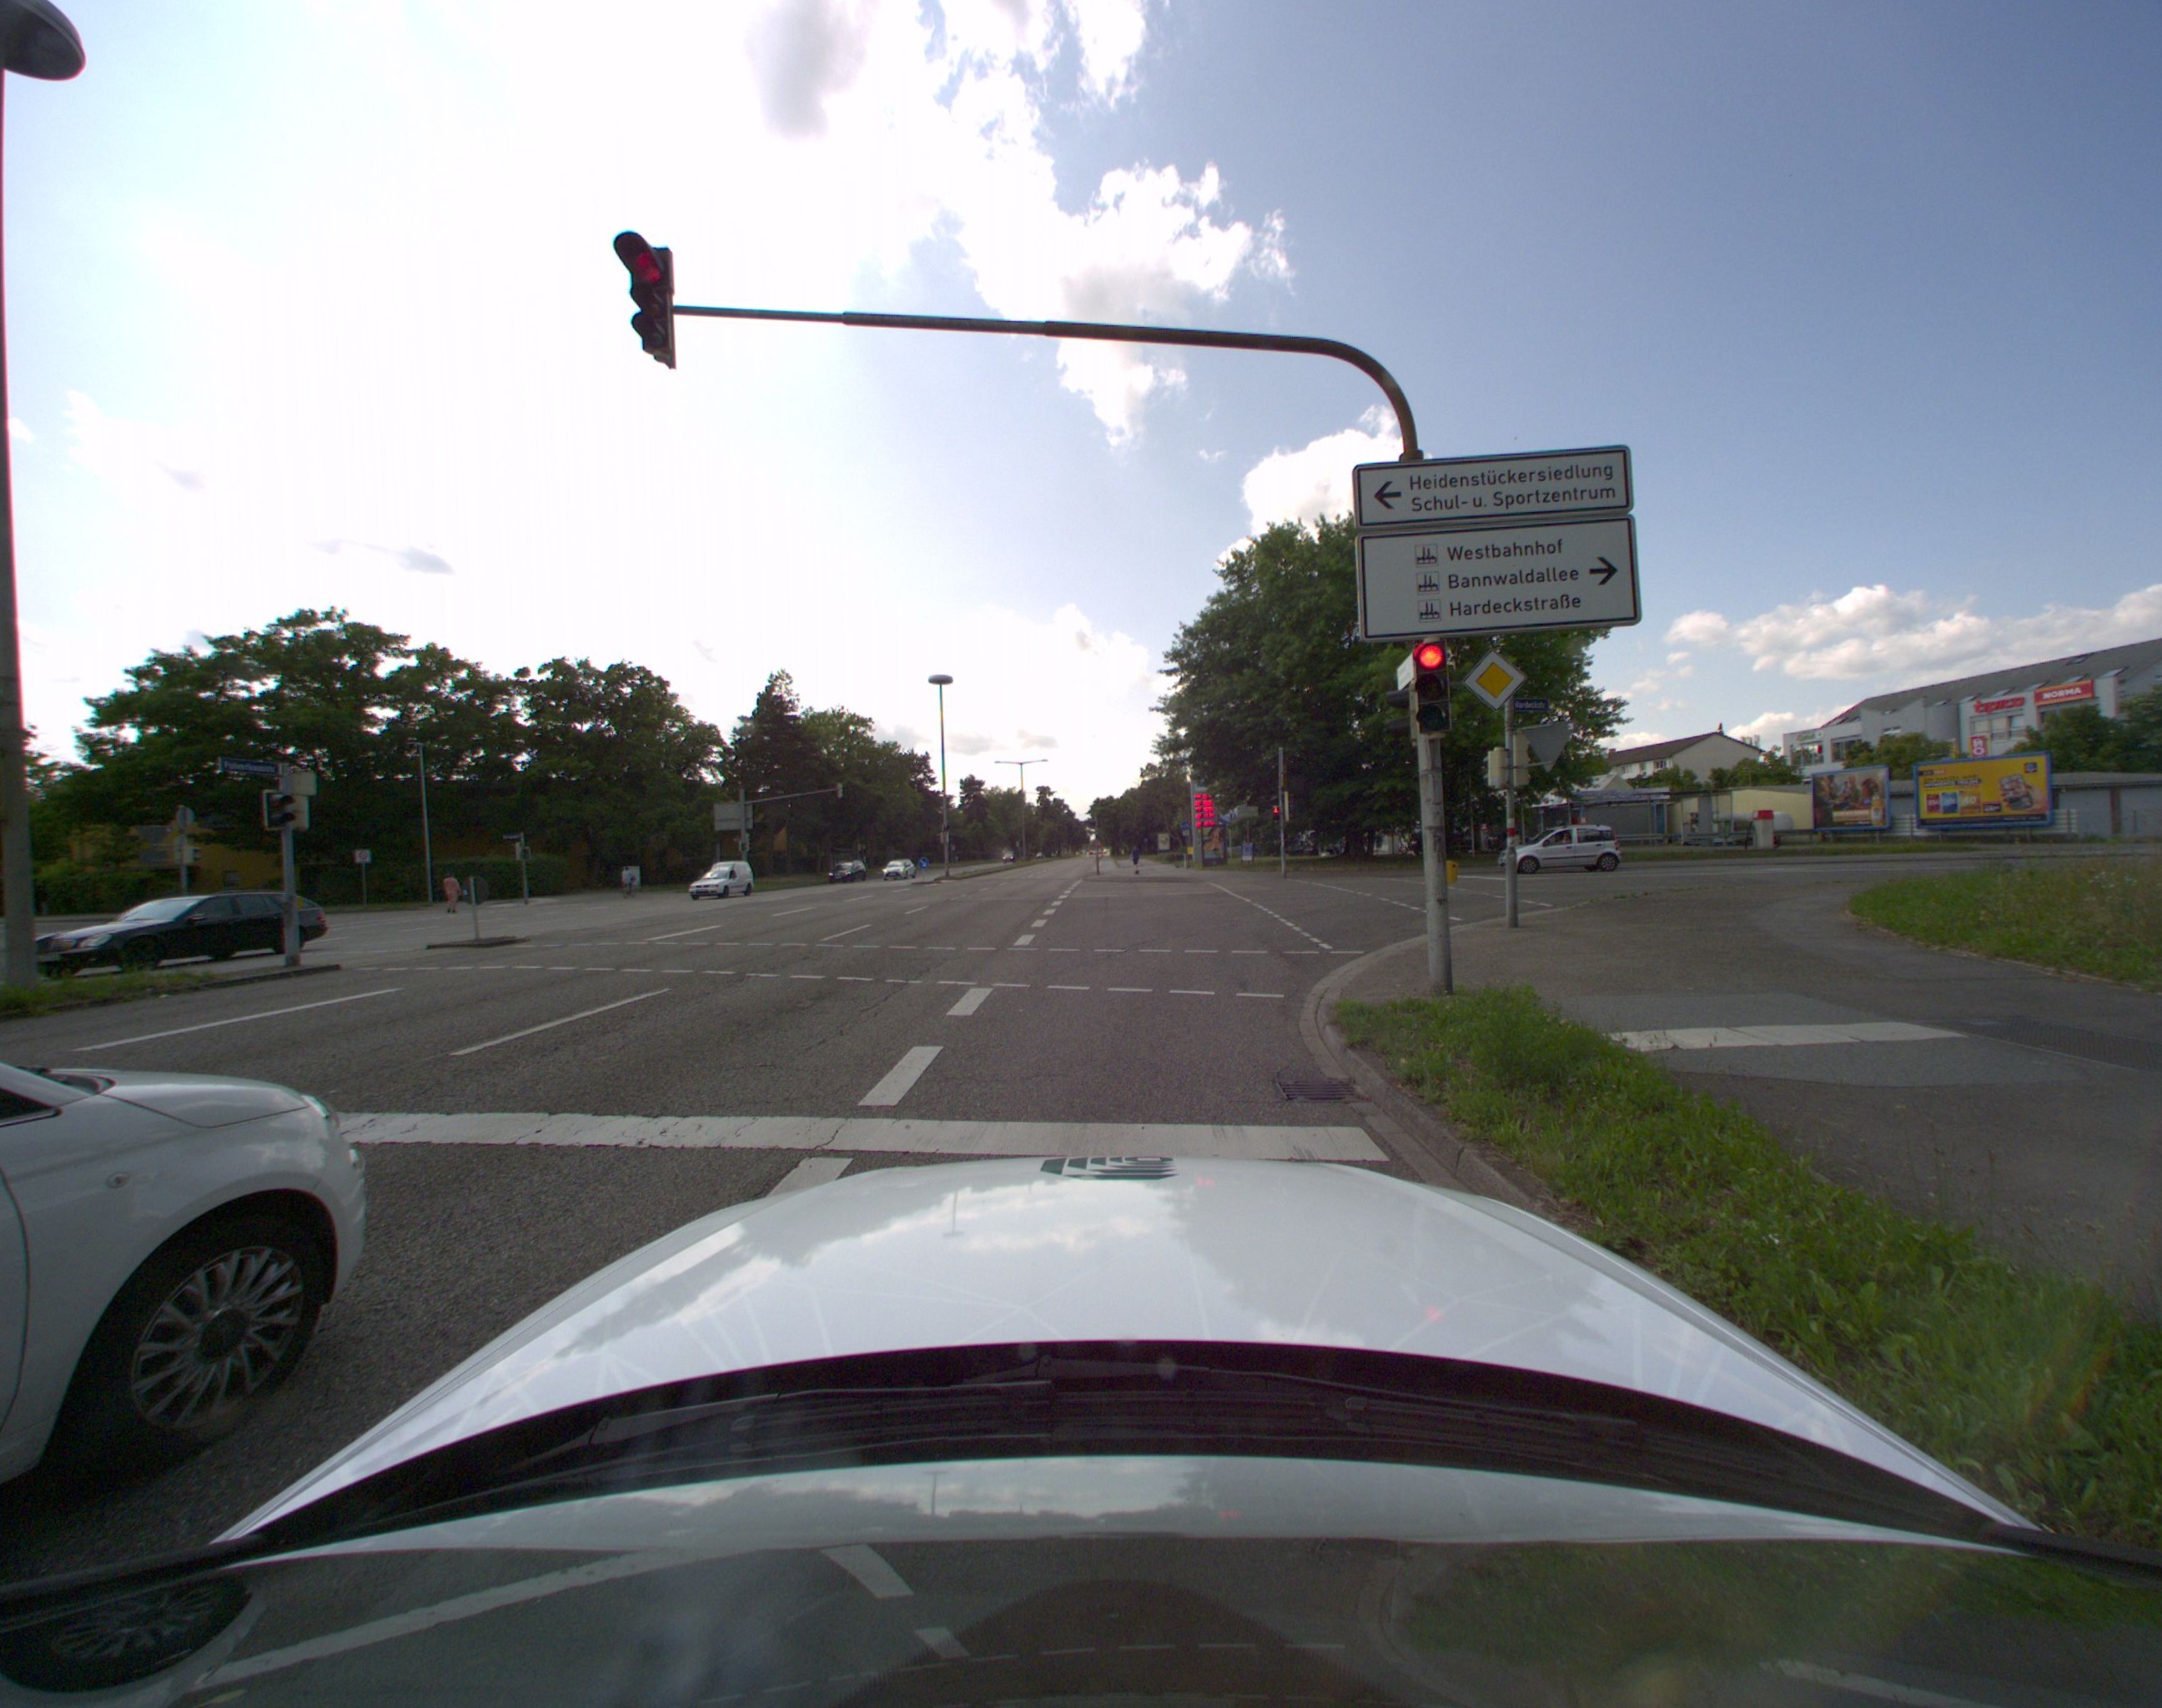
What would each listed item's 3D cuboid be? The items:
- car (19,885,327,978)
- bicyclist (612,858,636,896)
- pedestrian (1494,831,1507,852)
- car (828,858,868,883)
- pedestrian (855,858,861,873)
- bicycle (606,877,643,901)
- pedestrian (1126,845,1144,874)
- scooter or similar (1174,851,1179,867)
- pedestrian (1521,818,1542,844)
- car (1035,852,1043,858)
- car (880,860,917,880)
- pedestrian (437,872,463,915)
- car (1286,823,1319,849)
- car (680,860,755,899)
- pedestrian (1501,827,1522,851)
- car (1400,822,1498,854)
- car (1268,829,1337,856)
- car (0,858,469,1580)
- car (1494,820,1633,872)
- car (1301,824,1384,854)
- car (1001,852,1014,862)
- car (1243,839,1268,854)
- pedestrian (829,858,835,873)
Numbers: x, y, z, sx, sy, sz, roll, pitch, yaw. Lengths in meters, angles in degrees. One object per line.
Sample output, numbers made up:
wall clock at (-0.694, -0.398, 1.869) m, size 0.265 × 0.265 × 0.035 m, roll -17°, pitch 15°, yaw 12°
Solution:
car at (-18.158, 1.468, 16.639) m, size 1.522 × 1.458 × 4.206 m, roll -3°, pitch -1°, yaw 0°
bicyclist at (-24.659, 1.221, 43.963) m, size 0.749 × 2.013 × 0.831 m, roll -3°, pitch 0°, yaw -1°
pedestrian at (30.901, -0.920, 60.034) m, size 0.650 × 1.544 × 0.625 m, roll -3°, pitch 0°, yaw 8°
car at (-17.631, 1.237, 61.797) m, size 1.664 × 1.742 × 4.312 m, roll -2°, pitch -1°, yaw 2°
pedestrian at (-23.289, 1.182, 85.078) m, size 0.570 × 1.496 × 0.419 m, roll 0°, pitch -1°, yaw -14°
bicycle at (-24.629, 1.873, 43.956) m, size 0.752 × 1.119 × 2.114 m, roll -3°, pitch 0°, yaw 0°
pedestrian at (3.008, 0.296, 45.120) m, size 0.726 × 1.531 × 0.756 m, roll -3°, pitch 0°, yaw -15°
scooter or similar at (6.087, 0.329, 51.933) m, size 0.220 × 0.979 × 1.273 m, roll -3°, pitch 0°, yaw 2°
pedestrian at (22.581, -1.130, 40.829) m, size 0.649 × 1.255 × 0.757 m, roll 0°, pitch -1°, yaw -42°
car at (-12.056, 0.383, 235.647) m, size 1.854 × 1.705 × 4.456 m, roll -3°, pitch 0°, yaw 1°
car at (-13.484, 1.168, 60.223) m, size 1.746 × 1.308 × 3.695 m, roll -4°, pitch -1°, yaw 1°
pedestrian at (-26.858, 1.676, 34.665) m, size 0.696 × 1.742 × 0.697 m, roll -3°, pitch 0°, yaw 39°
car at (22.931, -1.831, 84.619) m, size 1.744 × 2.453 × 5.750 m, roll -3°, pitch 0°, yaw 0°
car at (-17.946, 1.213, 40.432) m, size 1.664 × 1.794 × 4.256 m, roll -2°, pitch -1°, yaw 2°
pedestrian at (21.931, -0.748, 41.470) m, size 0.649 × 1.190 × 0.757 m, roll 0°, pitch -1°, yaw -42°
car at (20.644, -0.889, 45.741) m, size 4.548 × 1.596 × 2.147 m, roll -3°, pitch 0°, yaw -9°
car at (18.734, -0.974, 68.904) m, size 5.167 × 2.004 × 2.152 m, roll -3°, pitch 0°, yaw -2°
car at (-3.045, 0.759, 1.172) m, size 1.564 × 1.497 × 3.541 m, roll 0°, pitch -1°, yaw 2°
car at (15.585, -0.247, 26.481) m, size 3.571 × 1.517 × 1.565 m, roll -2°, pitch 0°, yaw 14°
car at (18.547, -1.067, 57.968) m, size 5.179 × 1.826 × 2.147 m, roll -3°, pitch 0°, yaw -9°
car at (-12.063, 0.524, 133.349) m, size 1.766 × 1.465 × 4.454 m, roll -3°, pitch 0°, yaw -1°
car at (18.746, -0.770, 87.620) m, size 1.744 × 1.454 × 3.741 m, roll -3°, pitch 0°, yaw 0°
pedestrian at (-26.055, 1.204, 85.309) m, size 0.570 × 1.496 × 0.419 m, roll 0°, pitch -1°, yaw -14°
